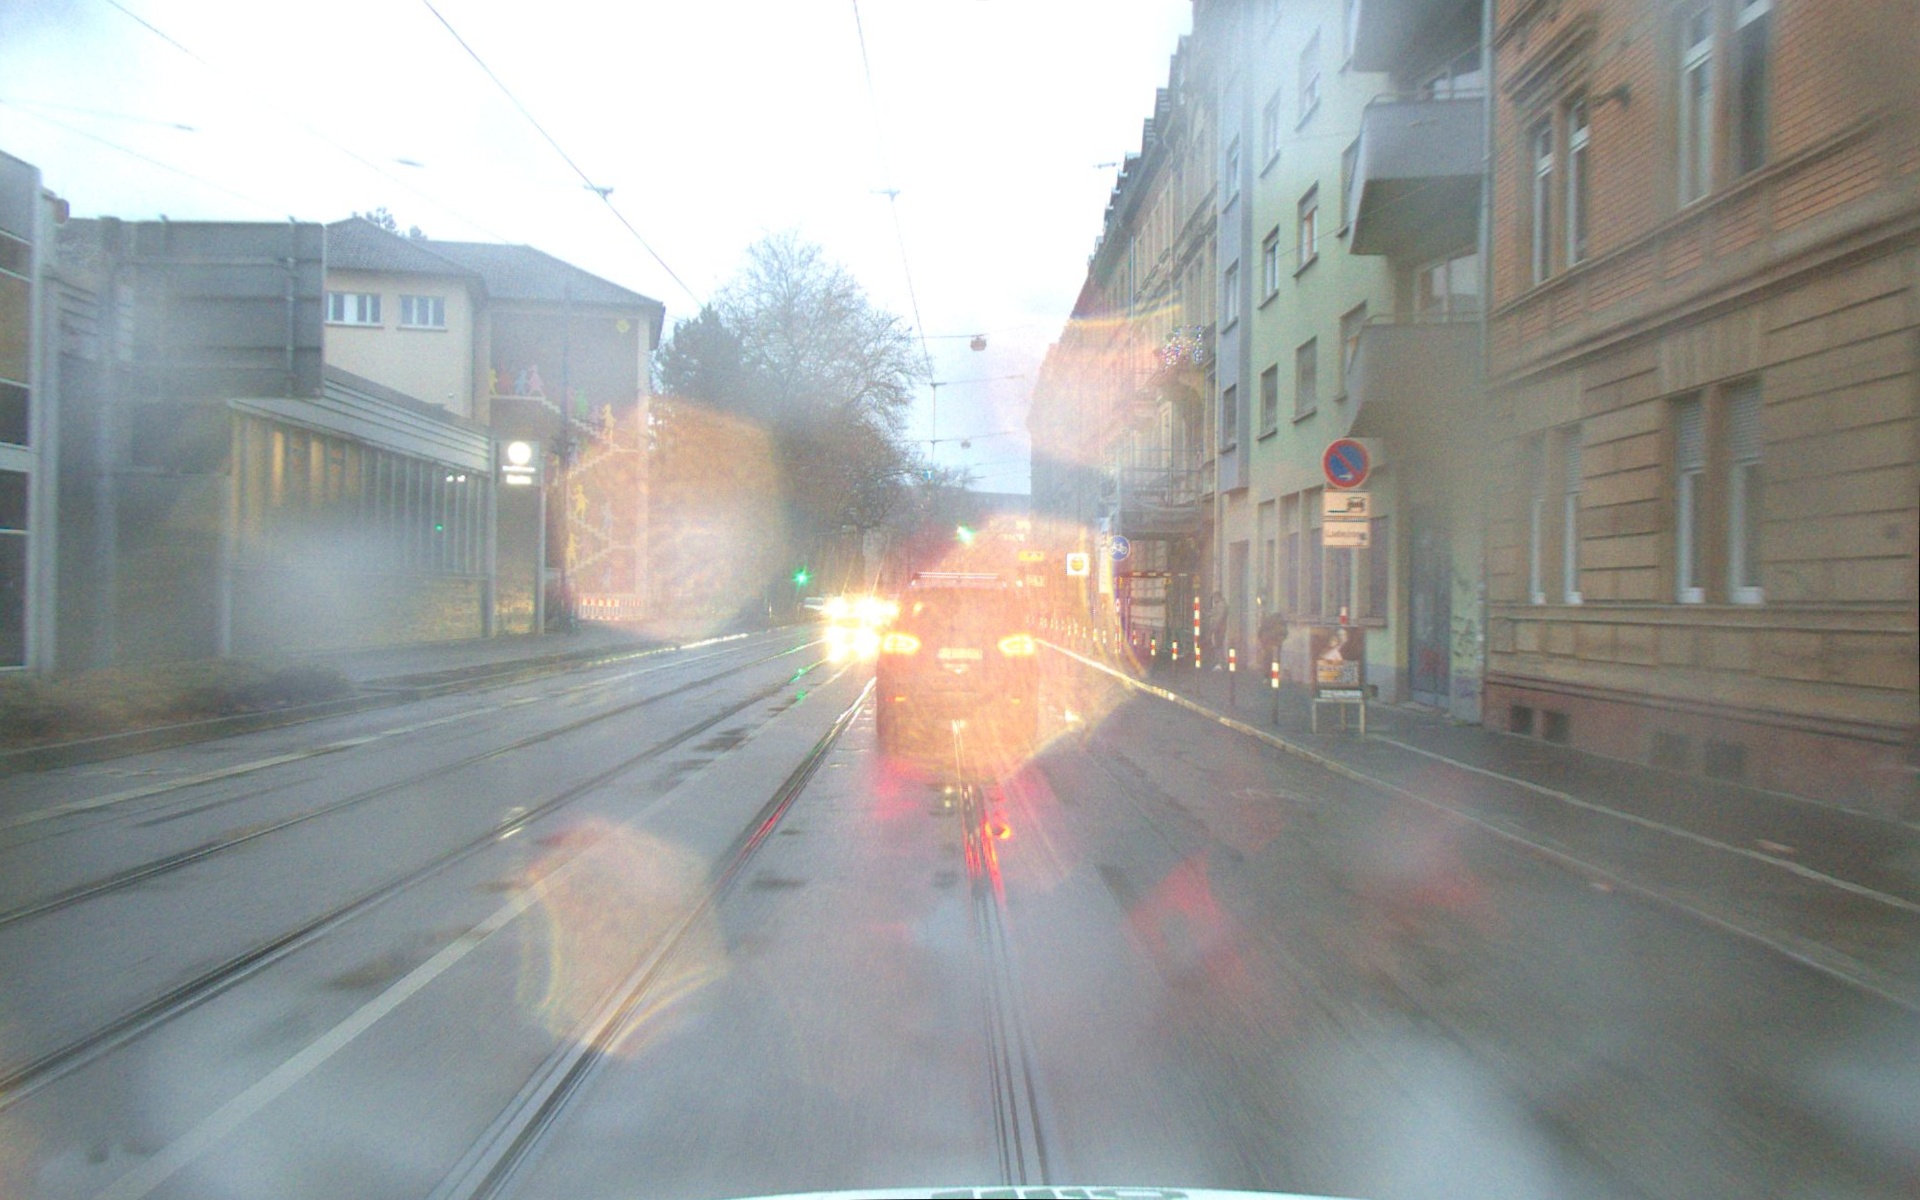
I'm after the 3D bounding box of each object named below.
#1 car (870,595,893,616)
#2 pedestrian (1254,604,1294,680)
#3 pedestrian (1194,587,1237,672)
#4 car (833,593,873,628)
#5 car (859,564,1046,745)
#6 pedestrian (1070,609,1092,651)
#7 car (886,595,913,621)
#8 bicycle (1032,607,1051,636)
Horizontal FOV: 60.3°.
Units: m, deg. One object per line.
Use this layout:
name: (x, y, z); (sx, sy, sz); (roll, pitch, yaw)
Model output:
car: (-5.661, 0.385, 119.756); (1.499, 1.507, 3.561); (0, 0, 0)
pedestrian: (5.872, 0.779, 30.912); (0.587, 1.401, 0.728); (1, -1, -1)
pedestrian: (5.650, 0.640, 36.534); (0.592, 1.850, 0.769); (1, -1, -28)
car: (-5.563, 0.519, 86.424); (1.837, 1.739, 4.759); (-1, 0, -1)
car: (-0.005, 0.576, 19.322); (1.952, 1.874, 4.001); (0, 0, 2)
pedestrian: (4.973, 1.222, 67.933); (0.817, 1.731, 0.954); (1, -1, 8)
car: (-5.748, 0.790, 157.603); (2.396, 2.388, 5.844); (-1, -1, 0)
bicycle: (3.445, 0.895, 69.944); (0.670, 1.176, 2.188); (1, -1, 0)
